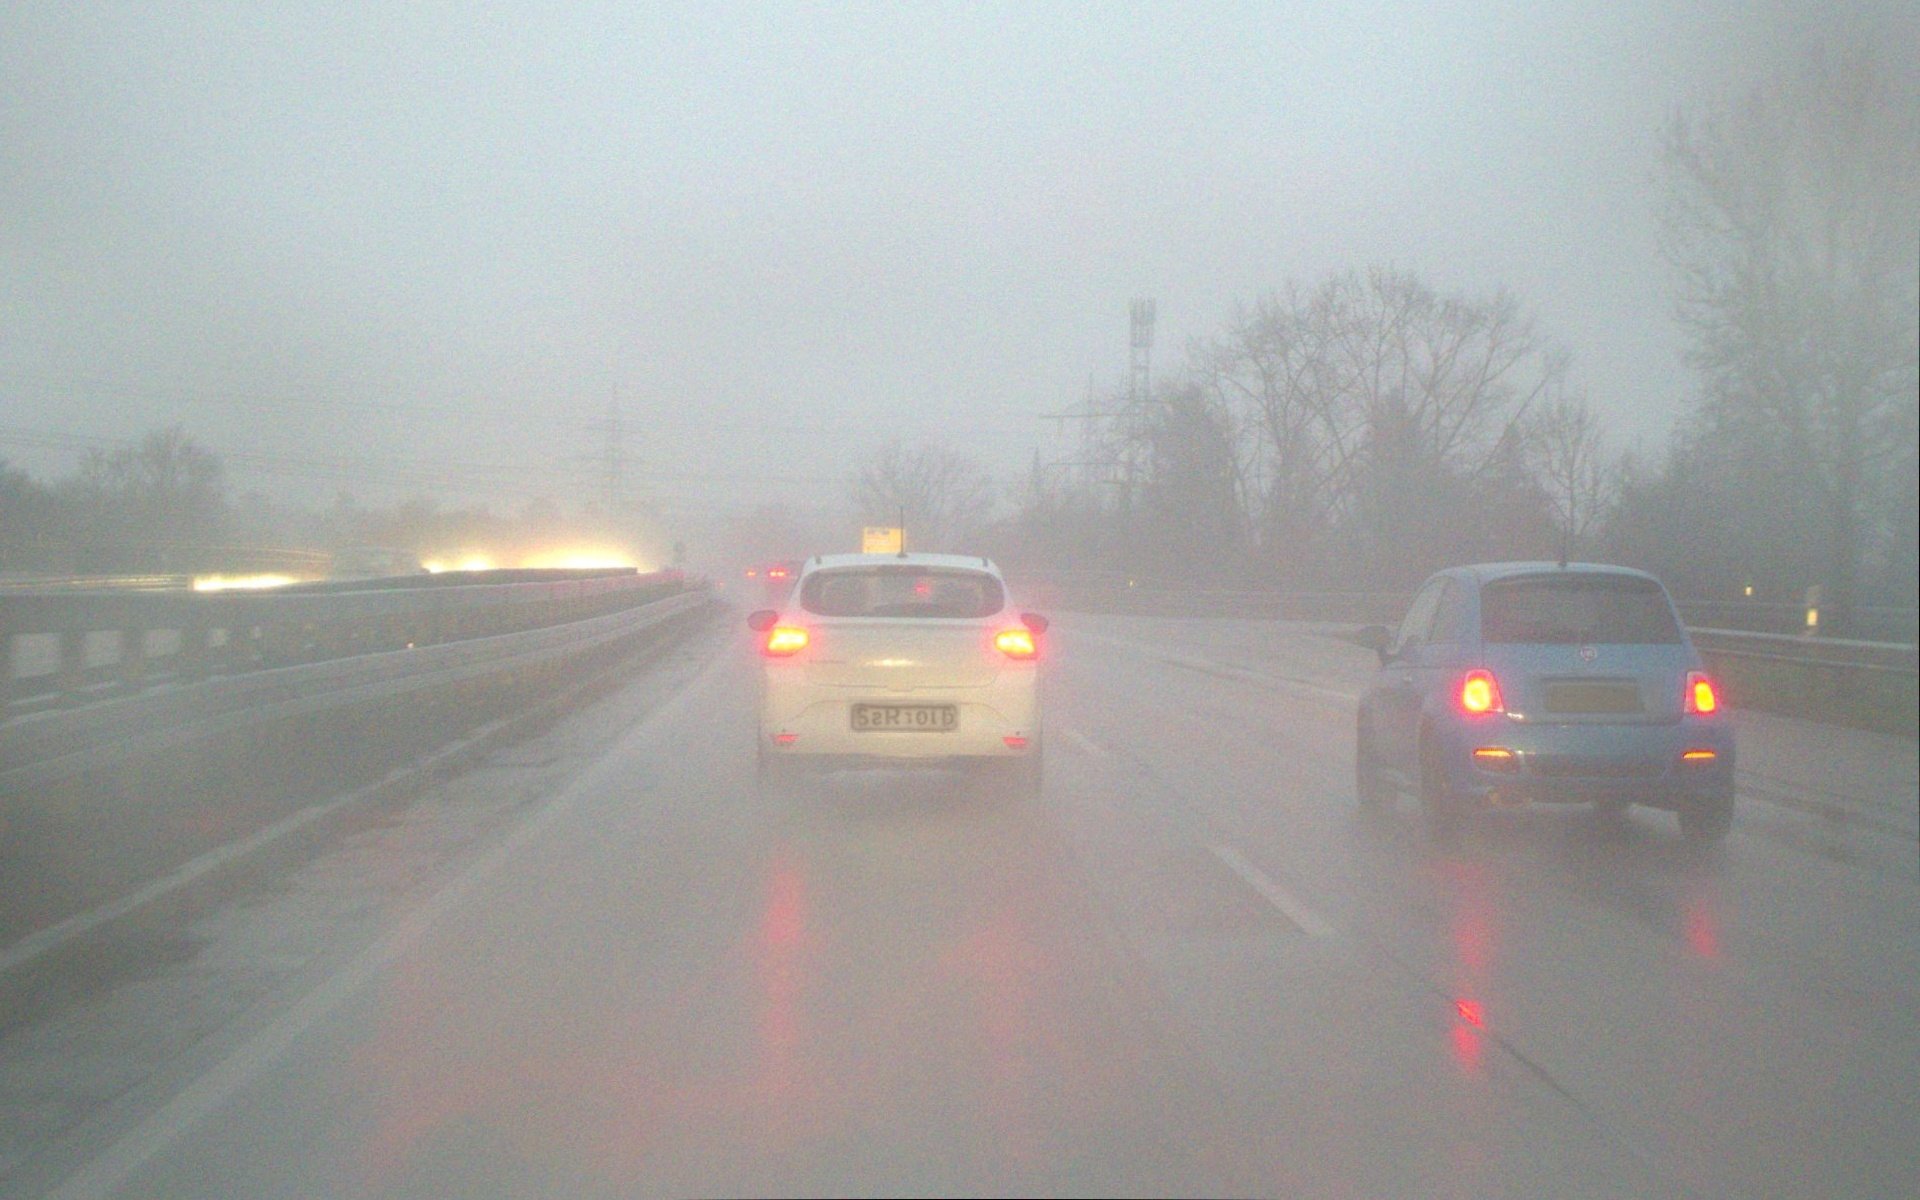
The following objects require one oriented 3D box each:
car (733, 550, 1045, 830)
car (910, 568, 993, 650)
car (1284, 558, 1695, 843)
[{"bbox_3d":[-0.481,0.512,22.476,1.845,1.630,3.768,1,1,-2],"label":"car"},{"bbox_3d":[-0.202,0.231,89.442,1.874,1.897,4.000,6,0,1],"label":"car"},{"bbox_3d":[3.004,0.509,20.328,1.845,1.448,4.149,1,1,1],"label":"car"}]
